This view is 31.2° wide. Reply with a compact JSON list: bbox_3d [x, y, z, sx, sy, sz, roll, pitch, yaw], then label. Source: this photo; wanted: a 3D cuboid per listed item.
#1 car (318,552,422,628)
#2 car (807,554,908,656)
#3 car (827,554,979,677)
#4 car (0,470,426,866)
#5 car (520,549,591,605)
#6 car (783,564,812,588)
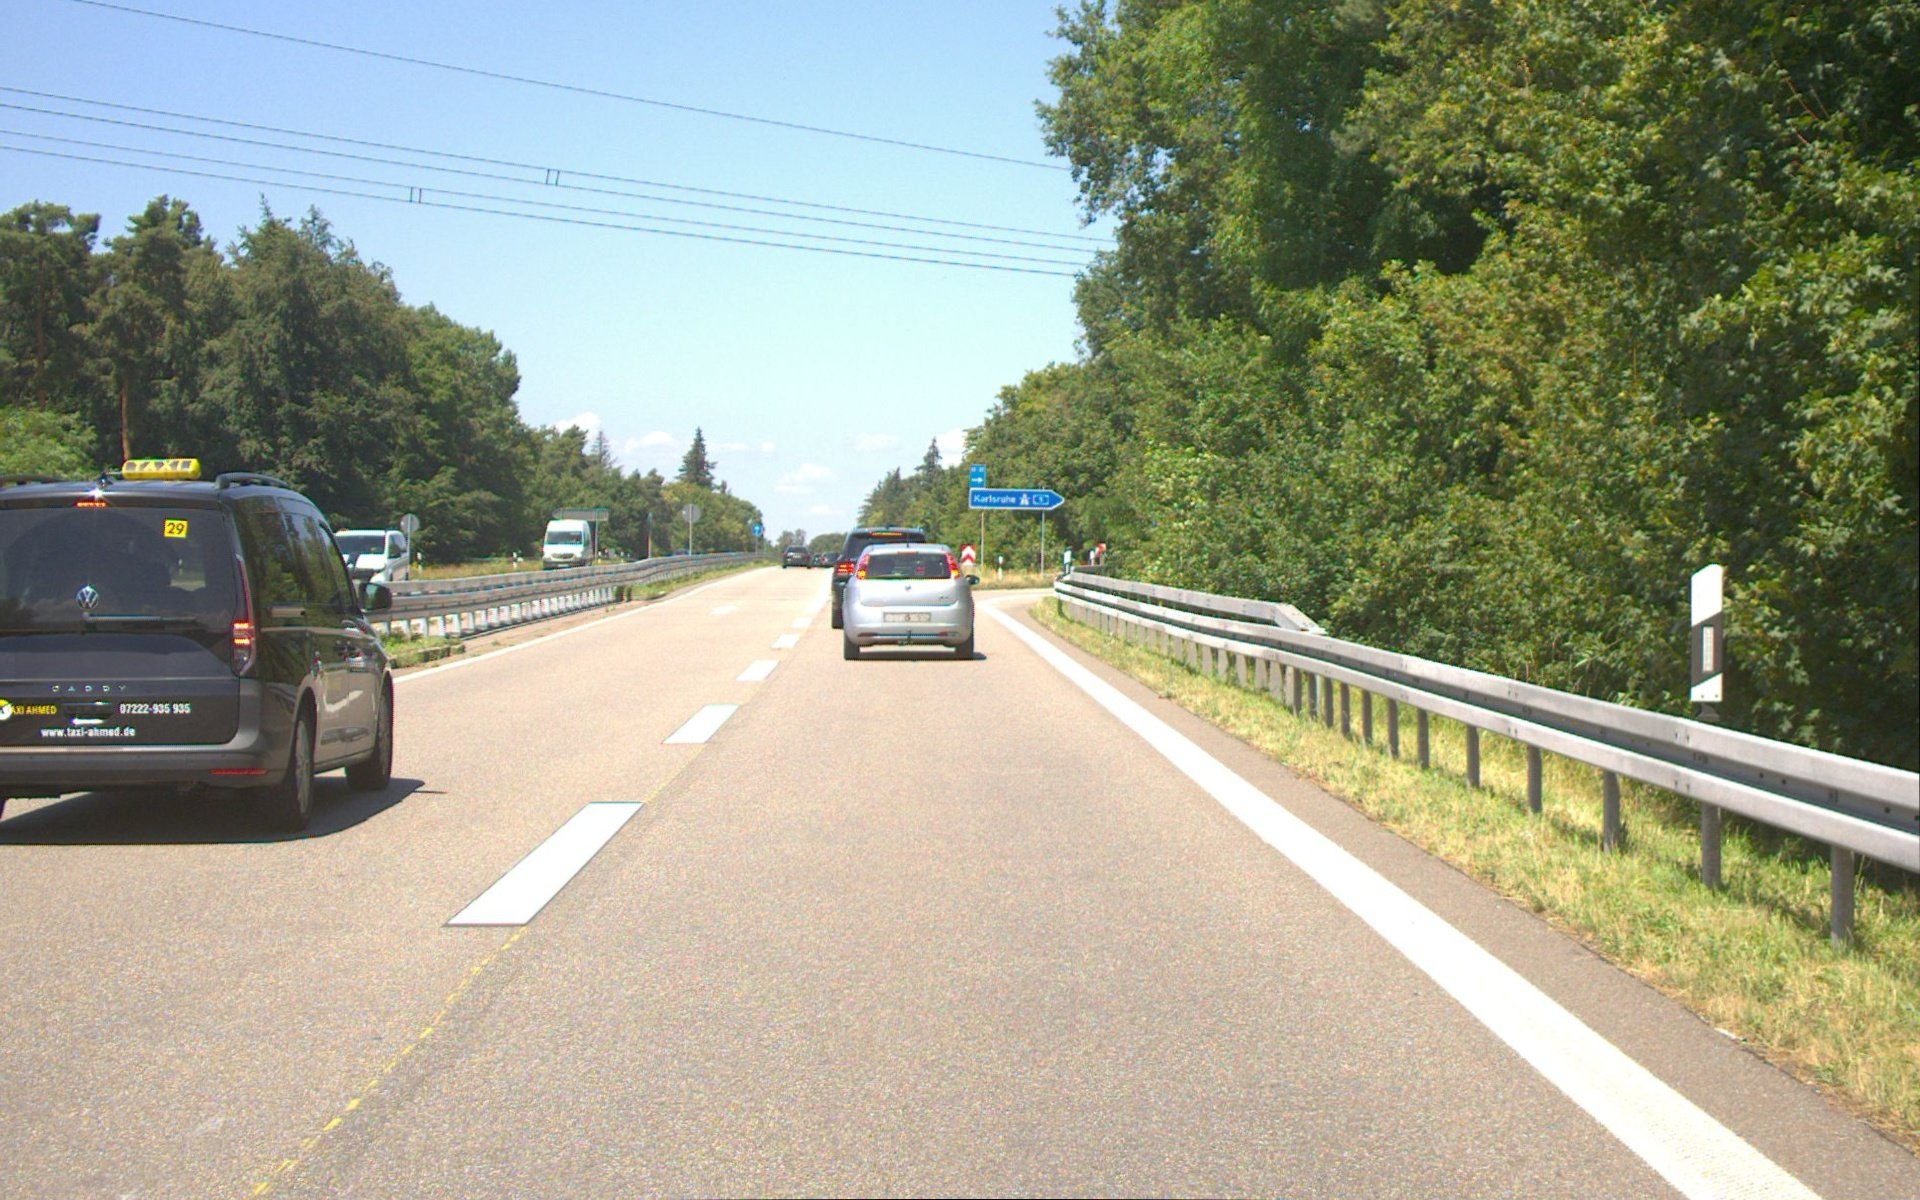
[{"bbox_3d":[-16.034,-0.290,93.641,1.891,1.986,5.533,0,0,0],"label":"car"},{"bbox_3d":[-1.782,0.077,59.702,1.640,1.648,3.574,2,0,-2],"label":"car"},{"bbox_3d":[-0.770,0.183,44.496,1.640,1.463,3.419,2,0,-6],"label":"car"},{"bbox_3d":[-4.272,0.307,19.110,1.854,1.880,5.573,0,0,-1],"label":"car"},{"bbox_3d":[-19.554,-1.106,166.525,2.524,2.609,7.186,-1,0,0],"label":"car"},{"bbox_3d":[-10.195,-1.500,216.176,1.712,1.466,3.574,2,0,-1],"label":"car"}]
